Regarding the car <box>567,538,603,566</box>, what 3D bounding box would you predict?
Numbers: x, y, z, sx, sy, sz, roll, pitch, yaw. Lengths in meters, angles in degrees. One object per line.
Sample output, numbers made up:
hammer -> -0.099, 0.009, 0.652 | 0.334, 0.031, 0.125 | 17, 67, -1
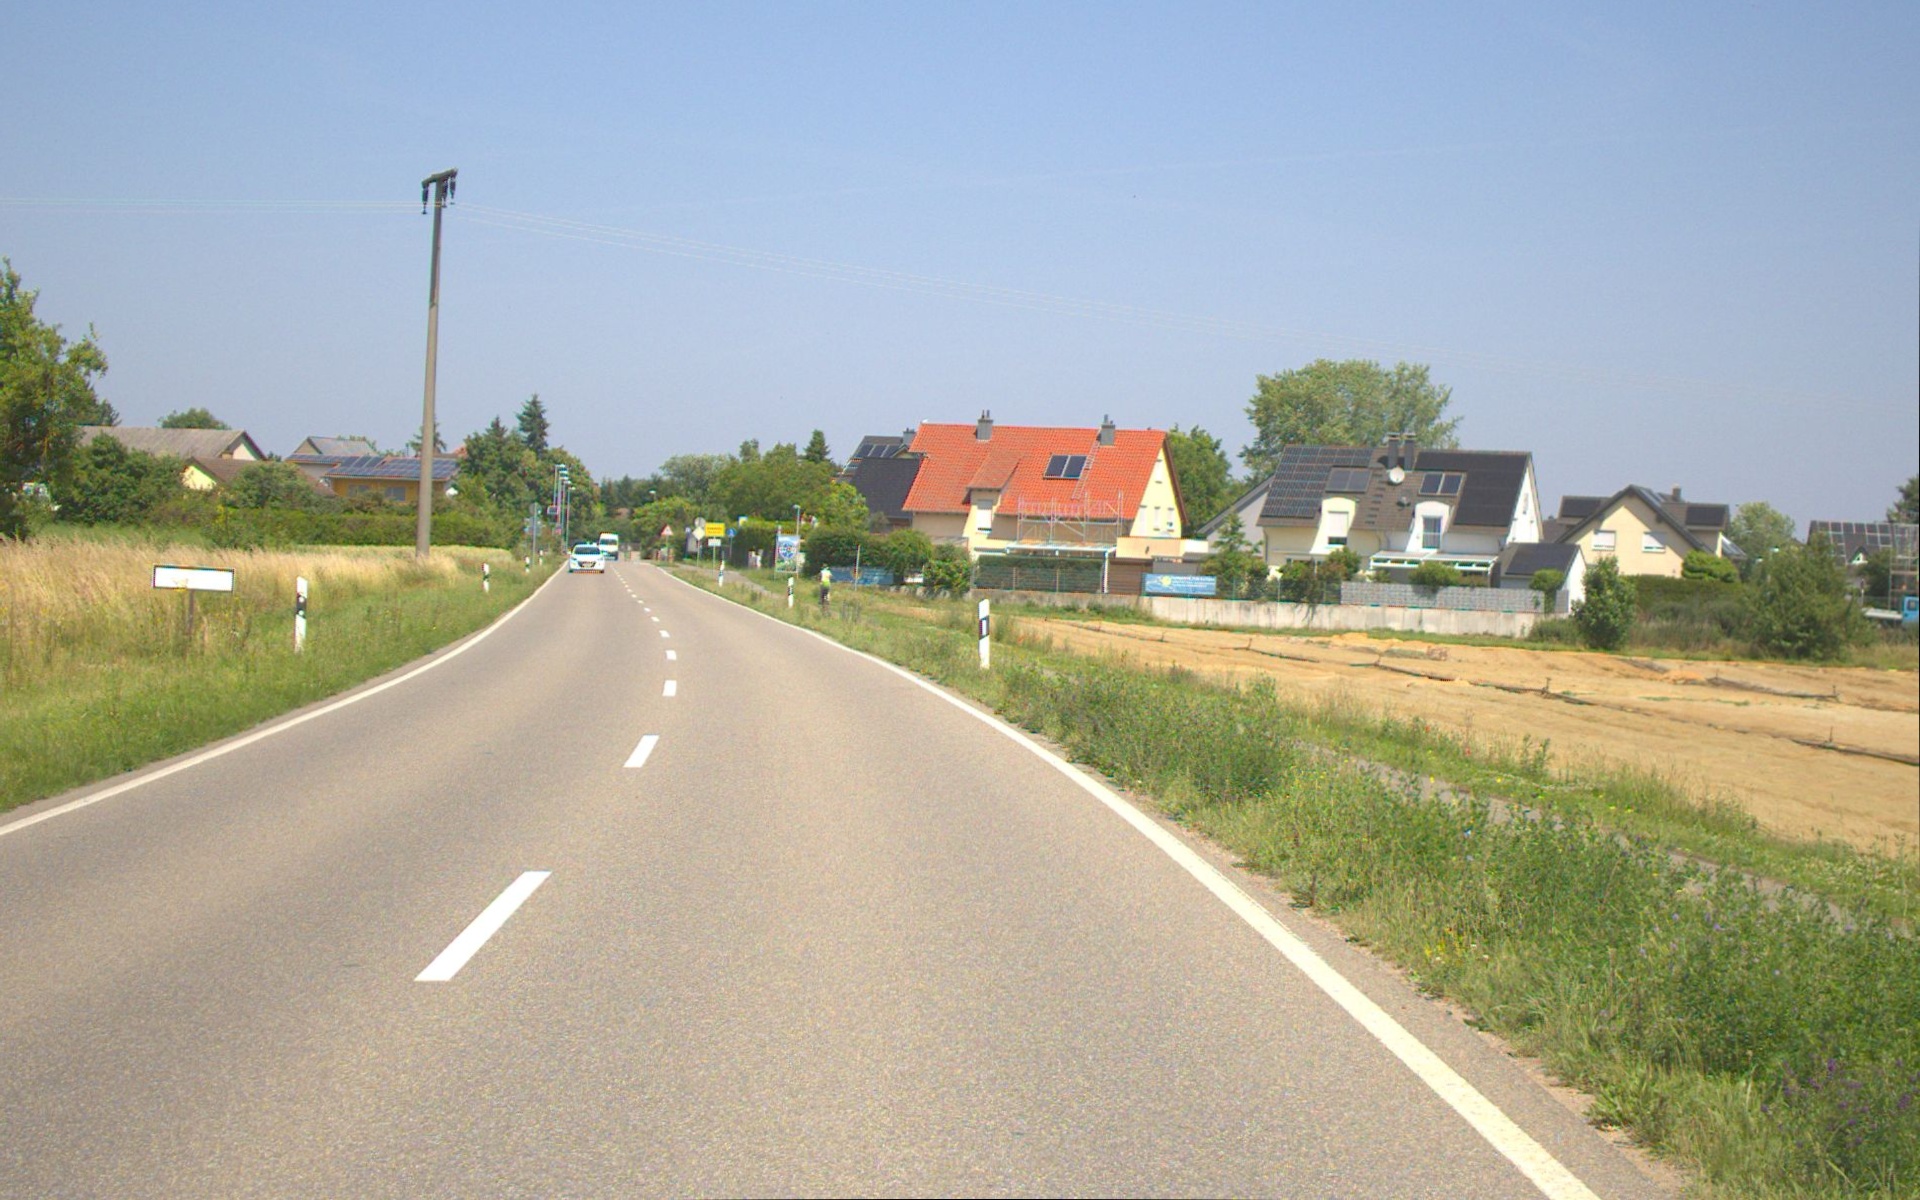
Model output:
car -> -19.446, -2.508, 178.459 | 1.791, 1.404, 4.186 | 2, 1, -6

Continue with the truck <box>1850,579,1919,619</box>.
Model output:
truck -> 55.337, -0.042, 202.296 | 5.559, 2.222, 2.213 | 2, 1, 19

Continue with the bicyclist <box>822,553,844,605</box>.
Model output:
bicyclist -> -4.752, -0.780, 128.561 | 0.645, 1.883, 0.861 | 4, 1, -7

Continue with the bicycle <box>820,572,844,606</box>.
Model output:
bicycle -> -4.790, -0.414, 128.633 | 0.610, 1.155, 2.275 | 4, 2, -7
